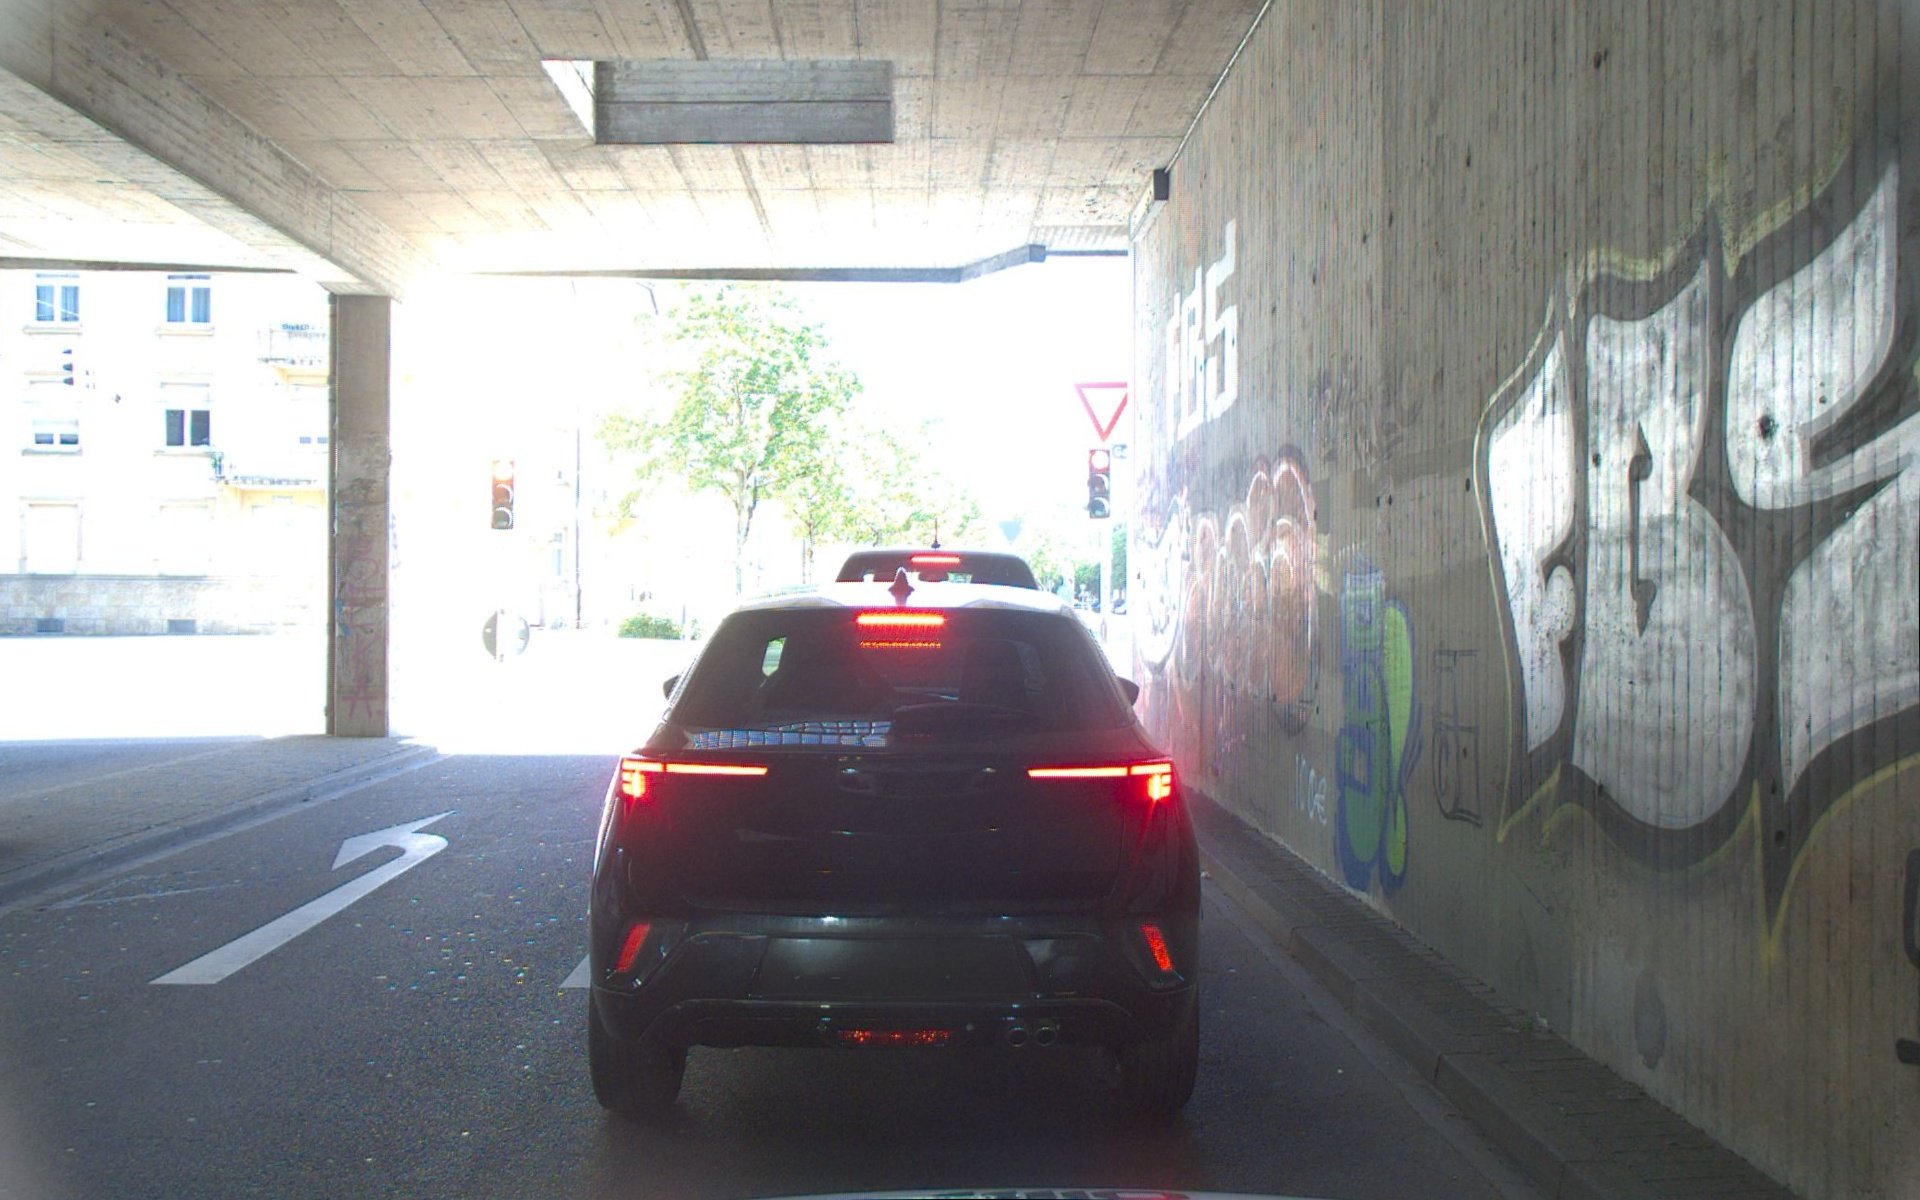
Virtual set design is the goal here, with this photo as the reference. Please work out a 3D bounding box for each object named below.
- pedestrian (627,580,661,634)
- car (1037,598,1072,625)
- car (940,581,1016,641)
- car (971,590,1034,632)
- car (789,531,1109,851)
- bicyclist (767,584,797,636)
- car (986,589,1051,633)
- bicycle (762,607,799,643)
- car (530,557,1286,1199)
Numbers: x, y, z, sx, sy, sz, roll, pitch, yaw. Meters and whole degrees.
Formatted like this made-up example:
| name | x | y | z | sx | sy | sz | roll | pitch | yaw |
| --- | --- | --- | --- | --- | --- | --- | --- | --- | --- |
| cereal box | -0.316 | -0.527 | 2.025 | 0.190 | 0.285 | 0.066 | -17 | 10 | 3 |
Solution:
| name | x | y | z | sx | sy | sz | roll | pitch | yaw |
| --- | --- | --- | --- | --- | --- | --- | --- | --- | --- |
| pedestrian | -12.026 | 0.273 | 62.995 | 0.971 | 2.049 | 1.089 | 0 | 0 | 7 |
| car | 6.223 | 0.742 | 108.385 | 1.951 | 1.691 | 4.003 | 1 | 0 | 8 |
| car | 0.499 | 0.334 | 44.157 | 1.927 | 1.523 | 3.896 | 0 | -1 | 1 |
| car | 1.624 | 0.438 | 62.194 | 1.926 | 1.523 | 3.899 | 0 | -1 | 8 |
| car | -0.092 | 0.531 | 11.863 | 1.906 | 1.892 | 3.963 | 0 | 0 | -1 |
| bicyclist | -5.536 | 0.305 | 51.433 | 0.713 | 1.609 | 0.815 | 1 | -1 | 9 |
| car | 2.469 | 0.480 | 69.016 | 2.173 | 1.749 | 4.463 | 0 | -1 | 9 |
| bicycle | -5.554 | 0.770 | 51.400 | 0.716 | 1.086 | 1.690 | 1 | 0 | 9 |
| car | -0.151 | 0.671 | 6.038 | 1.844 | 1.565 | 3.963 | 0 | 0 | -1 |
